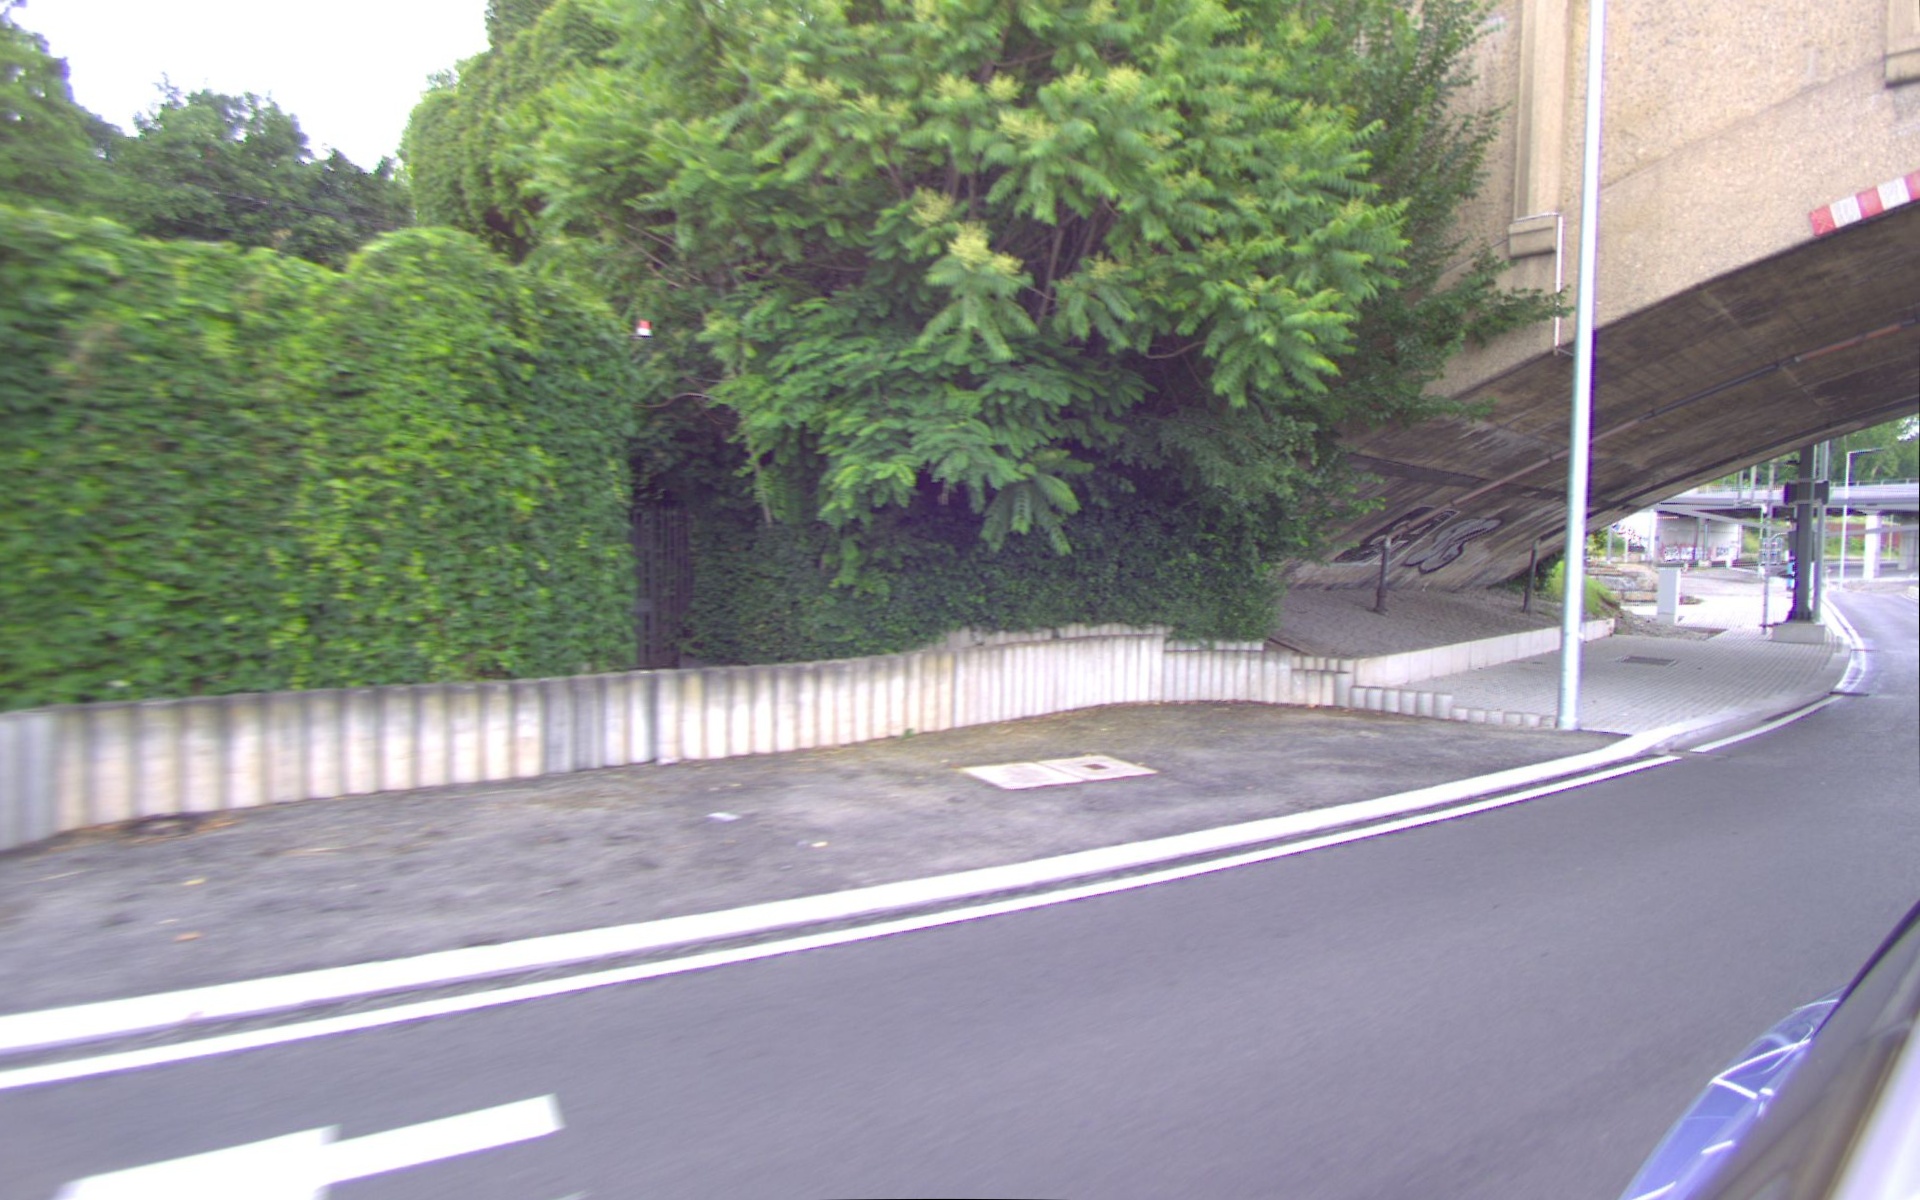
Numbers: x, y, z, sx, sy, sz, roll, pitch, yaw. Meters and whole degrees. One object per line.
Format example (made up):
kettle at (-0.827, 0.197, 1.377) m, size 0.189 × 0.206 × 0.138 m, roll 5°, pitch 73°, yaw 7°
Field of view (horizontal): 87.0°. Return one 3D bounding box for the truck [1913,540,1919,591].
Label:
truck at (72.101, -2.495, 74.415) m, size 2.566 × 3.612 × 8.978 m, roll 1°, pitch 2°, yaw 42°
